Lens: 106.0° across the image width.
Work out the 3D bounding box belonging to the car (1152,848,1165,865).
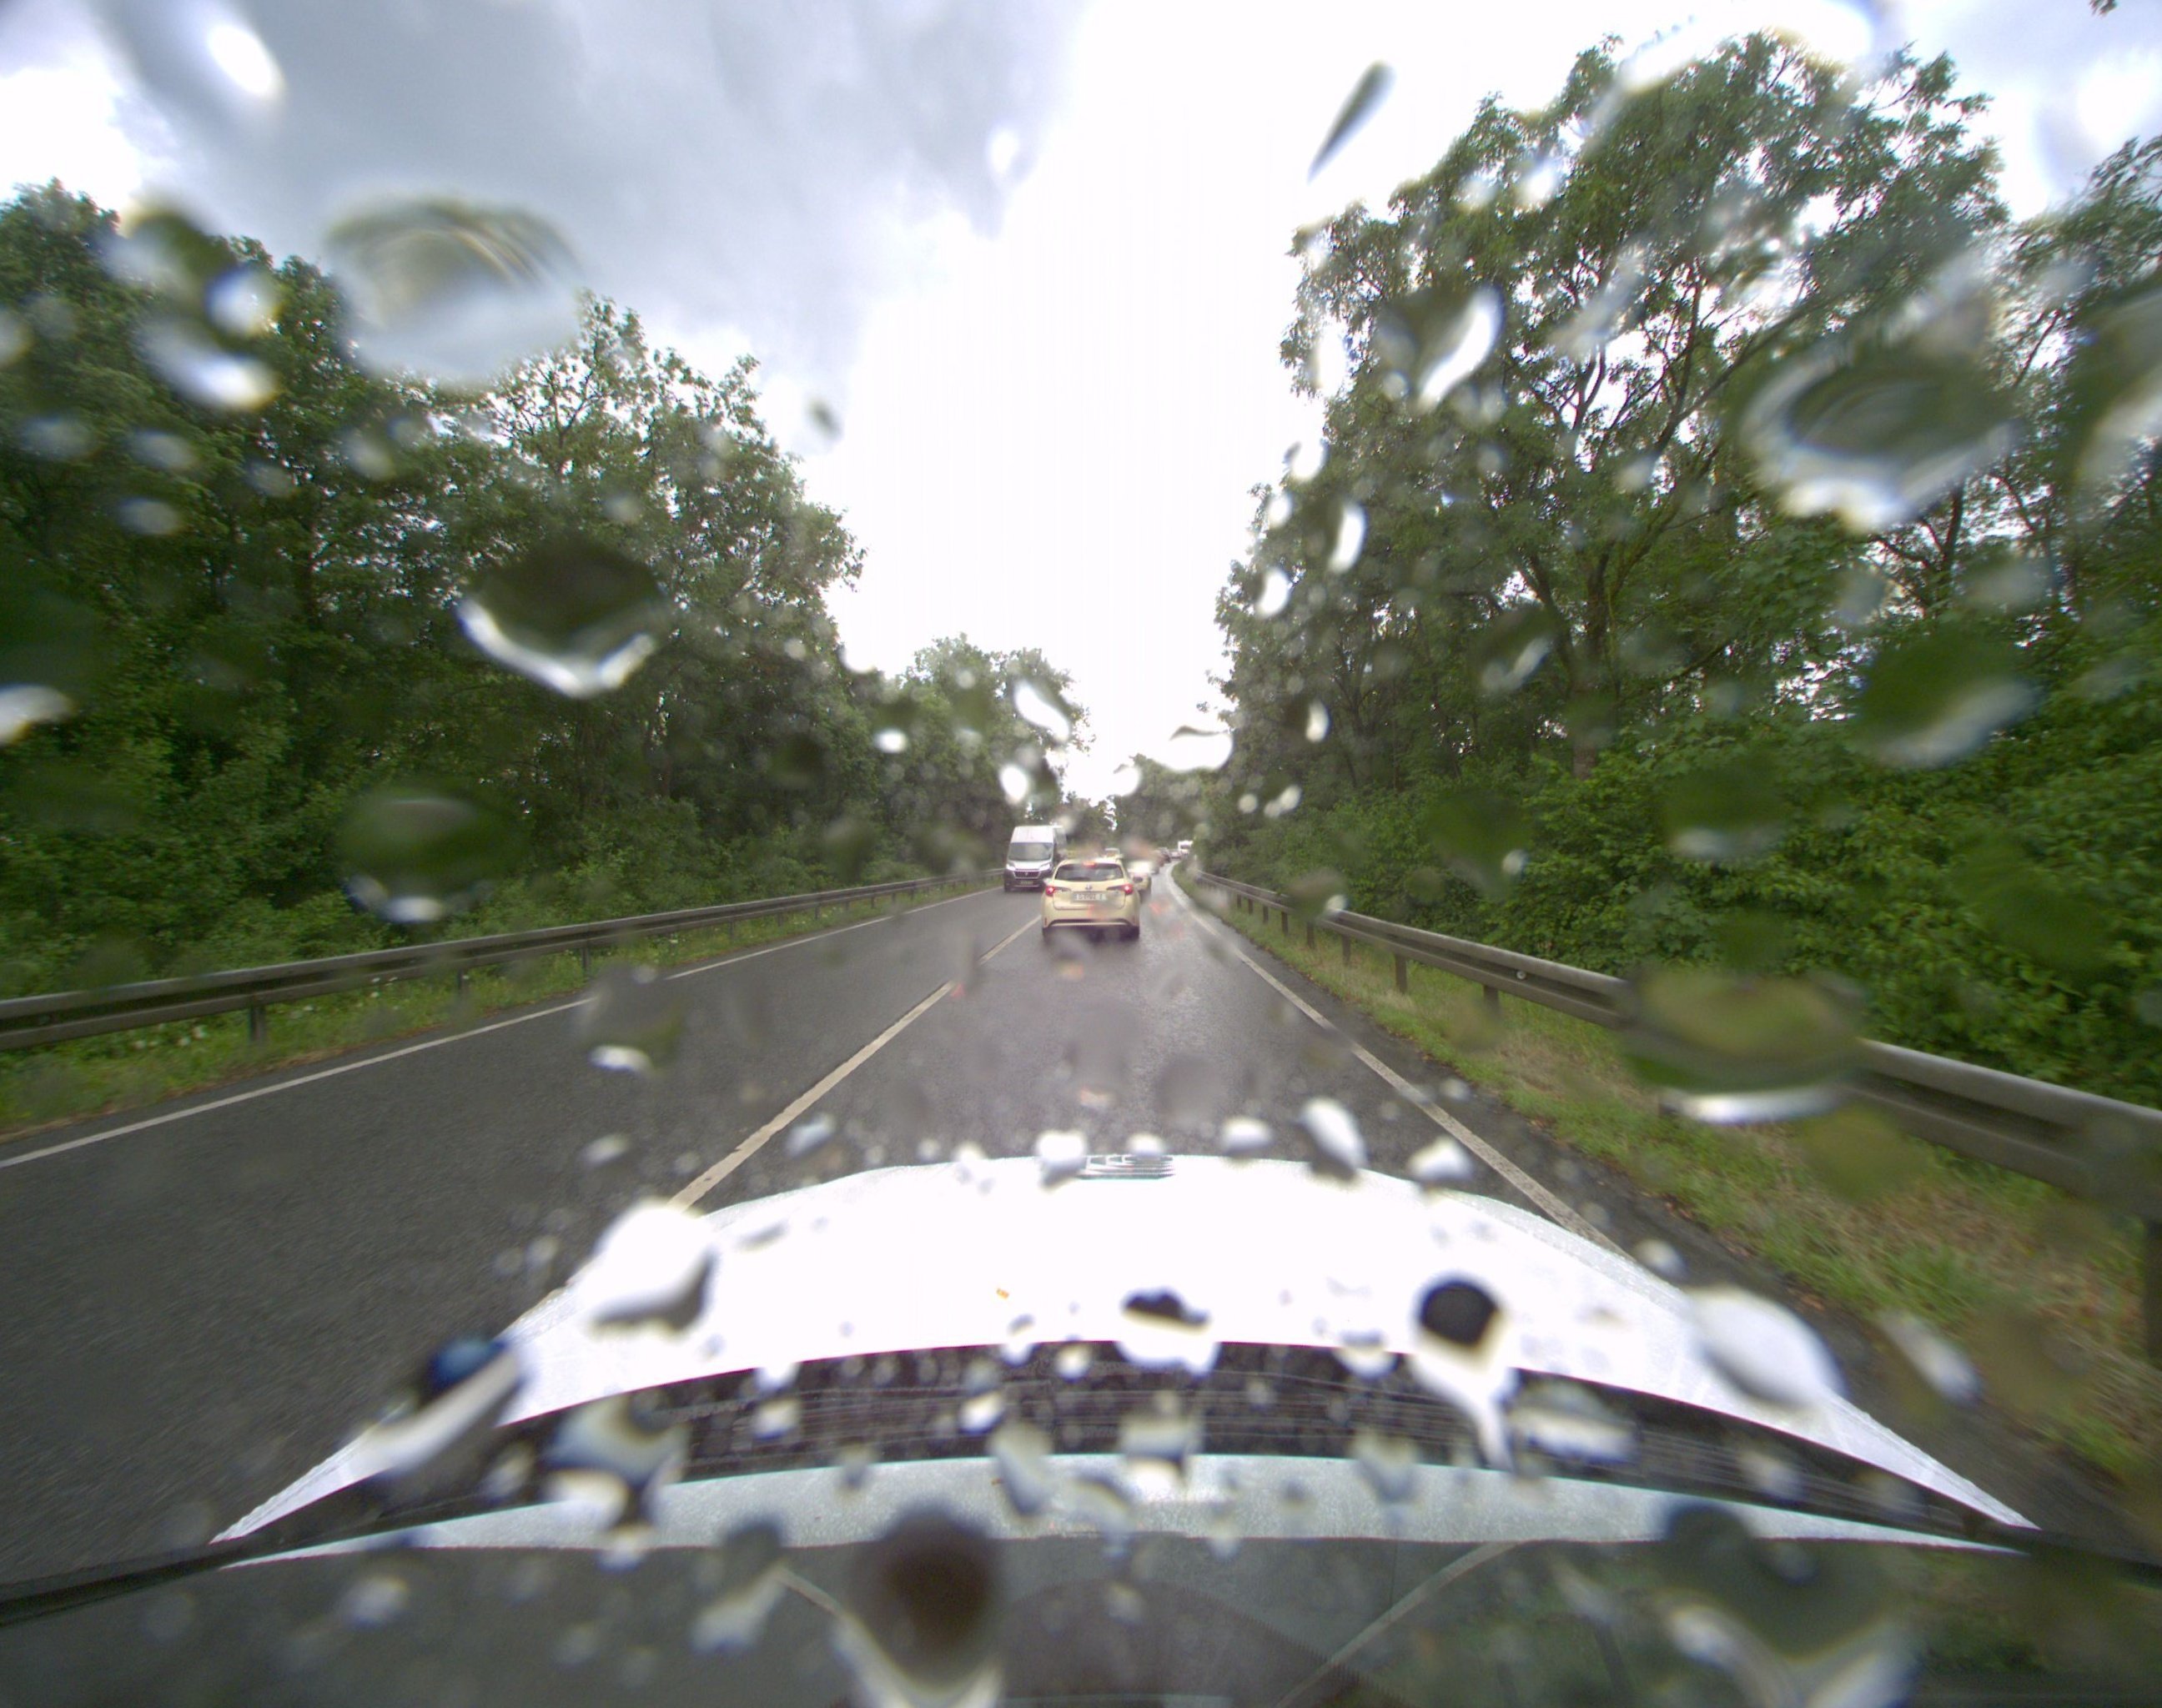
[{"bbox_3d":[7.233,0.236,75.821,1.161,1.547,2.608,0,-1,6],"label":"car"}]

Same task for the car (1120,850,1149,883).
[{"bbox_3d":[2.571,0.609,39.563,1.295,1.547,3.261,0,-1,2],"label":"car"}]

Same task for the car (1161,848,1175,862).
[{"bbox_3d":[9.970,0.114,93.515,1.608,1.613,3.627,0,-1,6],"label":"car"}]

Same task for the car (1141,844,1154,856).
[{"bbox_3d":[11.072,-0.646,135.322,1.984,2.014,4.006,0,-1,6],"label":"car"}]

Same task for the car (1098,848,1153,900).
[{"bbox_3d":[1.506,0.636,27.026,1.660,1.580,3.896,0,-1,4],"label":"car"}]

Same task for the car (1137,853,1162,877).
[{"bbox_3d":[4.671,0.735,55.613,1.604,1.547,3.817,-1,-1,4],"label":"car"}]

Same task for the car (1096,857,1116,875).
[{"bbox_3d":[2.516,1.175,81.167,1.807,1.686,4.627,0,-1,4],"label":"car"}]

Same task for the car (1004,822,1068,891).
[{"bbox_3d":[-1.807,0.123,34.851,2.039,2.676,6.177,-1,-1,3],"label":"car"}]

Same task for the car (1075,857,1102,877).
[{"bbox_3d":[0.563,0.929,59.418,1.721,1.431,3.853,0,-1,4],"label":"car"}]

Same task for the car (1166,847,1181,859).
[{"bbox_3d":[12.809,-0.160,112.375,1.758,1.547,3.825,-1,-1,10],"label":"car"}]

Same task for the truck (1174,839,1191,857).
[{"bbox_3d":[16.824,-0.973,135.548,2.538,2.713,7.544,0,-1,5],"label":"truck"}]

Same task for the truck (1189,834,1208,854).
[{"bbox_3d":[23.623,-1.985,164.005,3.085,3.680,7.026,-1,-1,14],"label":"truck"}]

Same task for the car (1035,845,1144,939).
[{"bbox_3d":[0.293,0.666,15.817,1.825,1.580,4.161,0,-1,4],"label":"car"}]
